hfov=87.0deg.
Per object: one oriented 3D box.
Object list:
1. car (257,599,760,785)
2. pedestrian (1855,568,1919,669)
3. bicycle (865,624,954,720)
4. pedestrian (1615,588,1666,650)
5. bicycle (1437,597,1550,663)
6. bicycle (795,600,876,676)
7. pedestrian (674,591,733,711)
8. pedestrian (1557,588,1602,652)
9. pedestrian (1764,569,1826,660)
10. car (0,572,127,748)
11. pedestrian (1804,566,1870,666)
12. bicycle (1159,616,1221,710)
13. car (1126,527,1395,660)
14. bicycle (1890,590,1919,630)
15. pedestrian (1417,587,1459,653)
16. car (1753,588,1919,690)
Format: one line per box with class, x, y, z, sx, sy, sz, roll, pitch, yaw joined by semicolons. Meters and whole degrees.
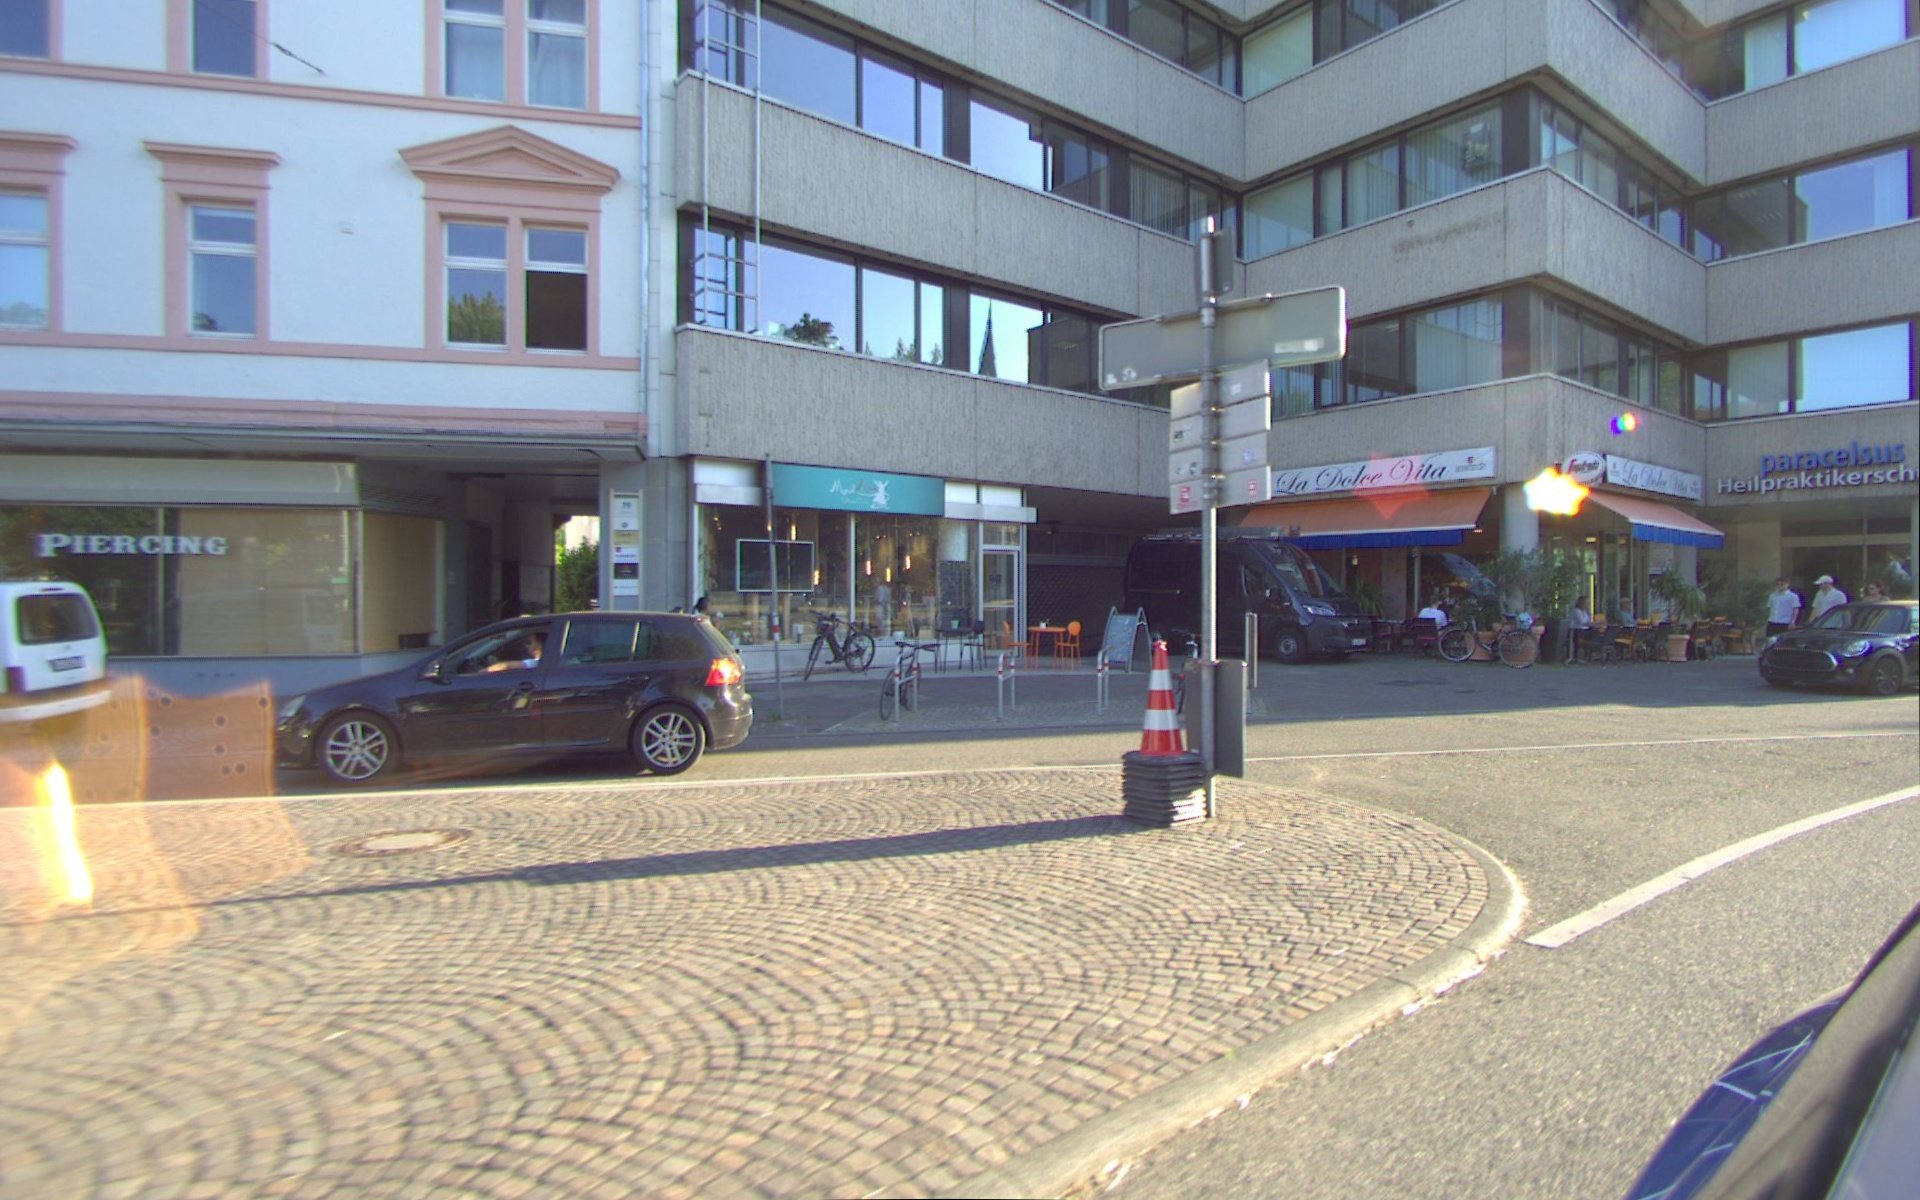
car;-3.933;0.750;9.501;4.018;1.479;1.756;-1;0;-11
pedestrian;16.876;0.326;18.390;0.648;1.781;0.582;0;2;-11
bicycle;-0.647;0.919;13.533;0.573;1.058;1.843;1;2;18
pedestrian;14.824;0.390;22.047;0.651;1.297;0.767;-2;2;-40
bicycle;10.102;0.547;19.209;1.807;1.132;0.527;3;3;39
bicycle;-2.081;0.618;17.137;0.512;1.132;1.506;2;4;34
pedestrian;-3.467;0.670;13.711;0.723;1.574;0.633;-1;0;-10
pedestrian;12.929;0.406;21.118;0.651;1.297;0.651;-2;2;-42
pedestrian;16.525;0.273;20.029;0.648;1.761;0.626;0;2;-11
car;-11.829;0.624;11.042;3.835;1.822;1.744;-1;2;-12
pedestrian;16.777;0.291;19.369;0.648;1.880;0.626;0;2;-11
bicycle;3.222;0.841;14.099;0.605;1.132;1.596;1;2;21
car;6.204;-0.213;21.564;2.054;2.472;5.331;-2;2;-37
bicycle;26.497;0.283;27.496;1.750;1.085;0.477;2;2;39
pedestrian;9.654;0.393;20.434;0.641;1.297;0.553;-2;2;-40
car;15.273;0.567;16.552;3.743;1.459;1.672;-1;3;-15
